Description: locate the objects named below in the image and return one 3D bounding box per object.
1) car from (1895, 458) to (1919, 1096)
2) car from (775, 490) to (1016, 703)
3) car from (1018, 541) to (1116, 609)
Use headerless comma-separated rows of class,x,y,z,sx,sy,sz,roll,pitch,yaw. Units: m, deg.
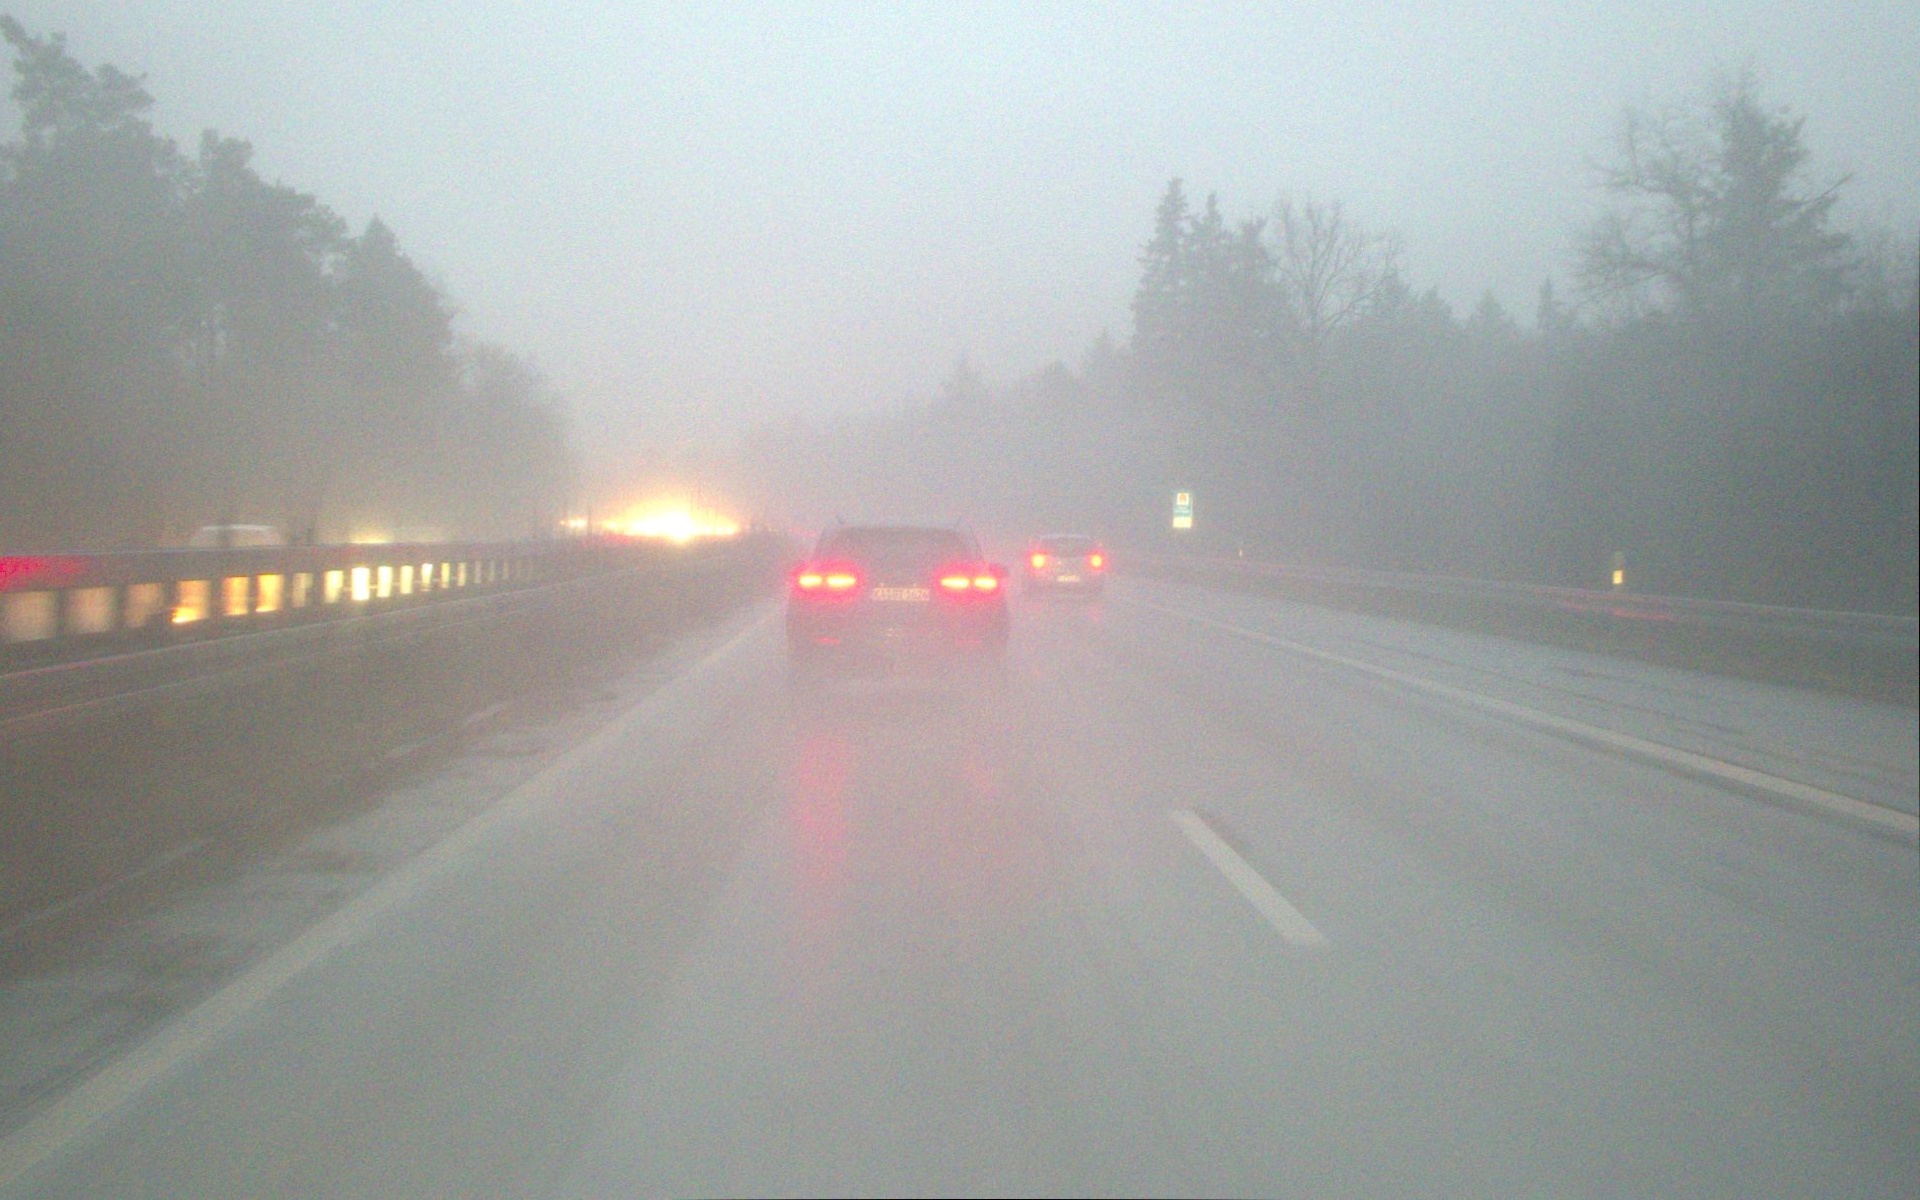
car,3.609,0.519,7.116,2.070,1.692,4.461,0,1,-1
car,-0.562,-0.071,30.505,1.986,1.761,4.174,0,1,-1
car,2.304,-0.560,74.951,1.780,1.432,3.538,1,1,-4
